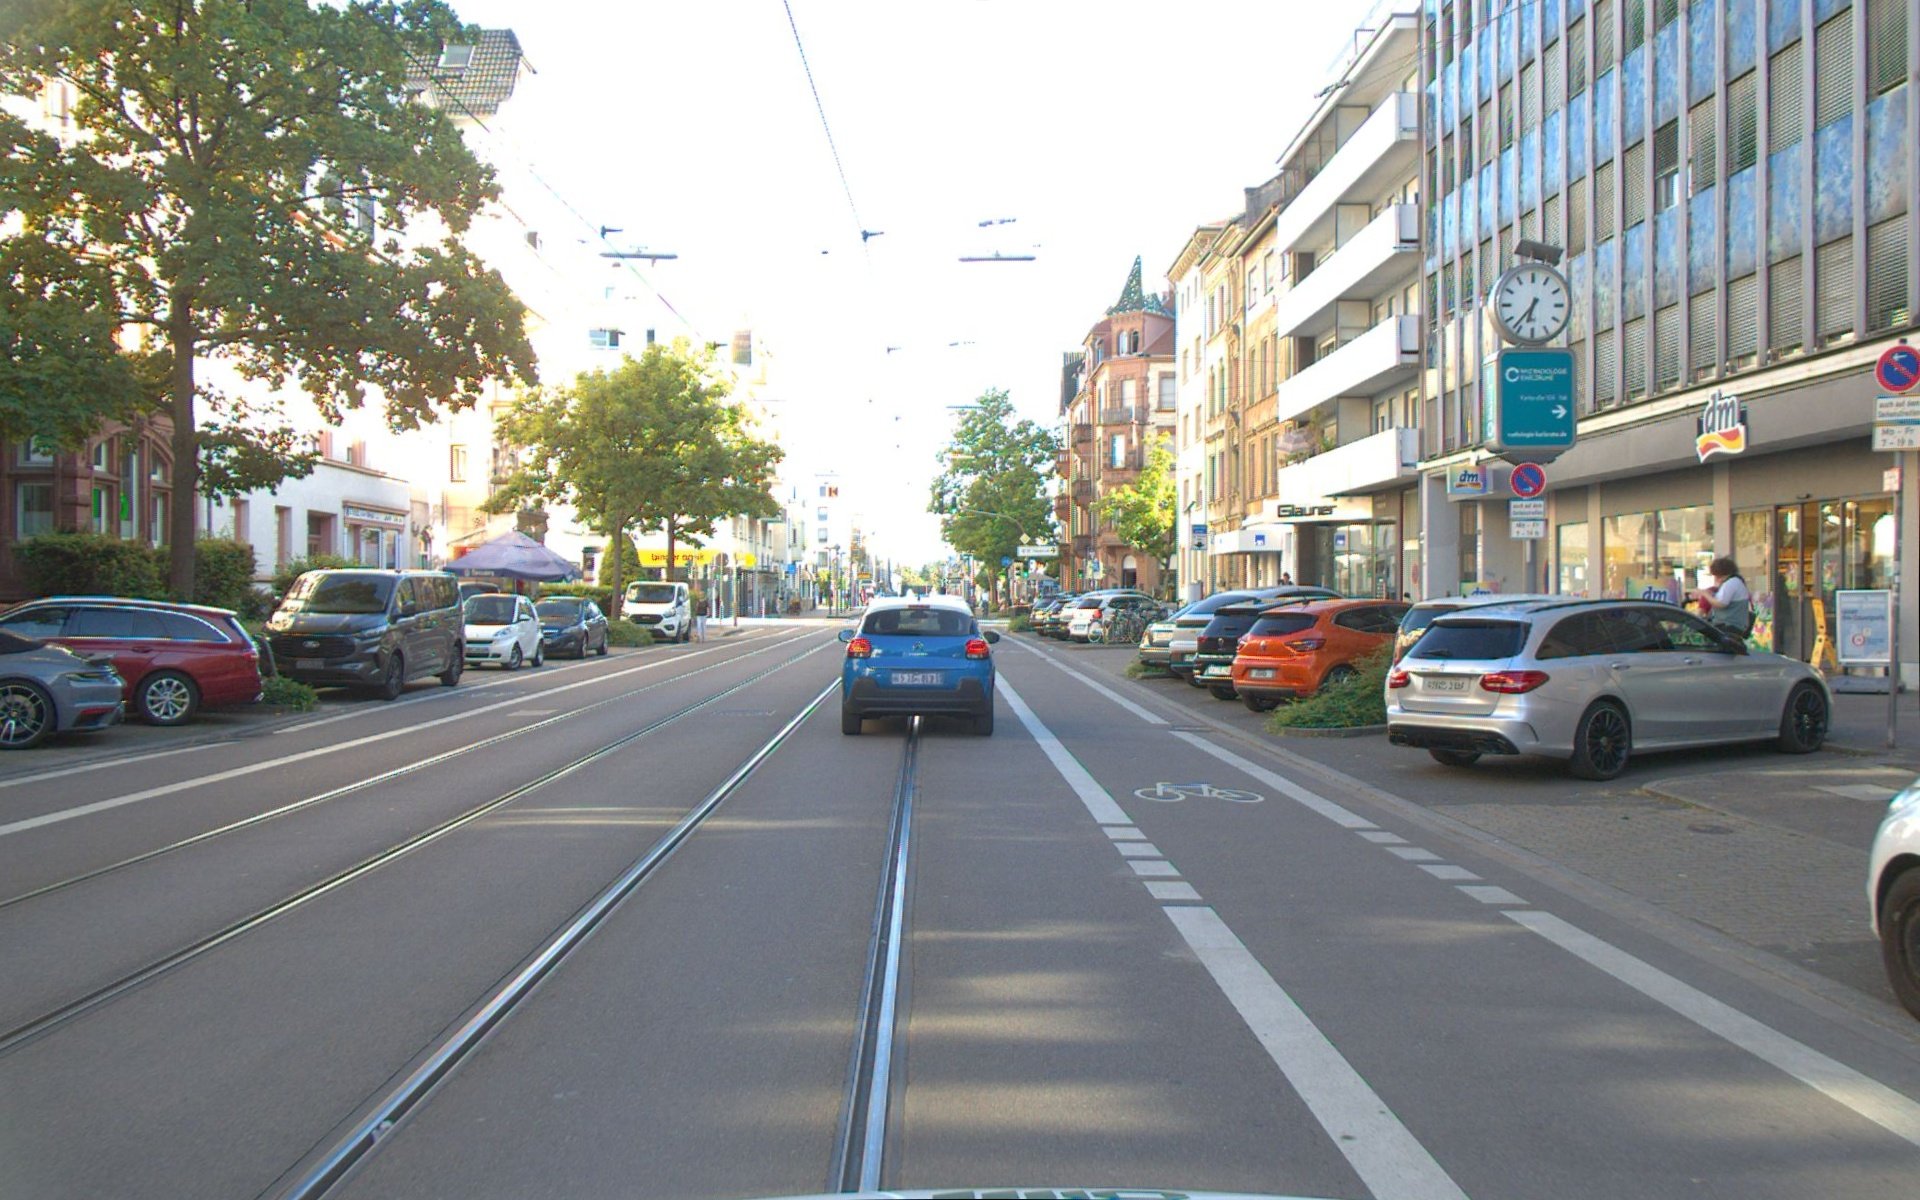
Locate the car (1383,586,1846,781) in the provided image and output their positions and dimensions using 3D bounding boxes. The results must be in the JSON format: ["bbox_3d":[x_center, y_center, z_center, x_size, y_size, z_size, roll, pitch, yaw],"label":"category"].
[{"bbox_3d":[5.940,0.678,14.839,4.394,1.534,1.520,1,0,-31],"label":"car"}]

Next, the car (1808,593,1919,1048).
[{"bbox_3d":[4.370,0.795,4.701,1.835,1.624,3.999,1,0,-1],"label":"car"}]

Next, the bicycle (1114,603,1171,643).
[{"bbox_3d":[5.105,0.636,46.385,0.549,1.066,1.785,1,0,-36],"label":"bicycle"}]

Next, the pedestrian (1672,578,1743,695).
[{"bbox_3d":[10.498,0.512,23.256,0.678,1.615,0.678,1,0,-1],"label":"pedestrian"}]

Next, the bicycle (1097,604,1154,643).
[{"bbox_3d":[4.593,0.643,46.017,0.549,1.066,1.785,1,0,-36],"label":"bicycle"}]

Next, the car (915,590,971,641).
[{"bbox_3d":[-0.570,0.516,56.025,1.835,1.624,3.999,1,0,-1],"label":"car"}]

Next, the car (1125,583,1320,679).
[{"bbox_3d":[4.831,0.546,30.287,3.417,1.668,1.662,1,0,-38],"label":"car"}]

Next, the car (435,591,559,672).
[{"bbox_3d":[-9.987,0.652,35.955,1.713,1.646,4.407,1,0,-4],"label":"car"}]

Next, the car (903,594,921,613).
[{"bbox_3d":[-3.830,0.270,133.077,1.394,1.457,3.138,1,0,-1],"label":"car"}]

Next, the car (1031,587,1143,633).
[{"bbox_3d":[4.562,0.366,59.408,3.601,1.601,1.850,1,0,-21],"label":"car"}]

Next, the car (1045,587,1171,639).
[{"bbox_3d":[4.750,0.414,53.220,3.601,1.601,1.850,1,0,-21],"label":"car"}]

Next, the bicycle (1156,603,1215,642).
[{"bbox_3d":[6.470,0.638,47.541,0.549,1.066,1.782,1,0,-39],"label":"bicycle"}]

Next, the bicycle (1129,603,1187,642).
[{"bbox_3d":[5.591,0.634,46.774,0.549,1.066,1.785,1,0,-36],"label":"bicycle"}]

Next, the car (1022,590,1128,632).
[{"bbox_3d":[4.365,0.418,62.750,3.601,1.561,1.778,1,0,-21],"label":"car"}]

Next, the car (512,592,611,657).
[{"bbox_3d":[-9.866,0.589,41.207,1.713,1.513,4.038,1,0,-4],"label":"car"}]

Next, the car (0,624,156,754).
[{"bbox_3d":[-10.411,0.897,17.096,3.751,1.287,1.503,1,0,-27],"label":"car"}]

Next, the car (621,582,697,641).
[{"bbox_3d":[-10.022,0.363,55.293,1.794,1.880,4.213,1,0,-1],"label":"car"}]

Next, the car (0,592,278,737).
[{"bbox_3d":[-10.259,0.744,20.003,3.672,1.651,1.777,1,0,-22],"label":"car"}]

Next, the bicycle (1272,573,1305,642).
[{"bbox_3d":[10.005,0.240,50.423,0.713,2.049,2.359,1,0,5],"label":"bicycle"}]

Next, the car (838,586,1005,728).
[{"bbox_3d":[-0.438,0.604,19.046,1.726,1.466,3.556,1,0,-1],"label":"car"}]

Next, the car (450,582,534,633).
[{"bbox_3d":[-14.355,0.221,50.917,1.600,1.494,3.526,1,0,-1],"label":"car"}]

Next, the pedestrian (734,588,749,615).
[{"bbox_3d":[-14.147,0.102,107.020,0.926,1.782,0.699,1,0,-5],"label":"pedestrian"}]

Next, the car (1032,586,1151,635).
[{"bbox_3d":[4.462,0.351,56.131,3.601,1.601,1.850,1,0,-21],"label":"car"}]

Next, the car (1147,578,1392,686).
[{"bbox_3d":[5.180,0.514,27.585,3.686,1.681,2.024,1,0,-34],"label":"car"}]

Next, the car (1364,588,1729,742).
[{"bbox_3d":[6.430,0.656,18.067,3.735,1.513,1.819,1,0,-31],"label":"car"}]

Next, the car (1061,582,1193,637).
[{"bbox_3d":[5.067,0.288,50.148,3.615,1.601,1.843,1,0,-30],"label":"car"}]

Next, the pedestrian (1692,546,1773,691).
[{"bbox_3d":[9.698,0.231,20.779,0.678,1.786,0.678,1,0,-1],"label":"pedestrian"}]

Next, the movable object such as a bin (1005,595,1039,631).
[{"bbox_3d":[2.695,0.565,71.987,1.366,1.509,1.655,1,0,-1],"label":"movable object such as a bin"}]

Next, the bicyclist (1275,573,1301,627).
[{"bbox_3d":[10.008,0.001,50.457,0.717,1.651,0.529,1,0,5],"label":"bicyclist"}]

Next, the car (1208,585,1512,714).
[{"bbox_3d":[5.281,0.608,21.732,3.686,1.547,1.945,1,0,-34],"label":"car"}]

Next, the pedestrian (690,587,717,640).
[{"bbox_3d":[-8.542,0.456,55.121,0.720,1.756,0.623,1,0,-25],"label":"pedestrian"}]

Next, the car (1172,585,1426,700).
[{"bbox_3d":[5.025,0.597,24.450,3.409,1.582,1.804,1,0,-33],"label":"car"}]

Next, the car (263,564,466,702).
[{"bbox_3d":[-9.498,0.489,26.846,1.713,2.008,5.236,1,0,-4],"label":"car"}]
